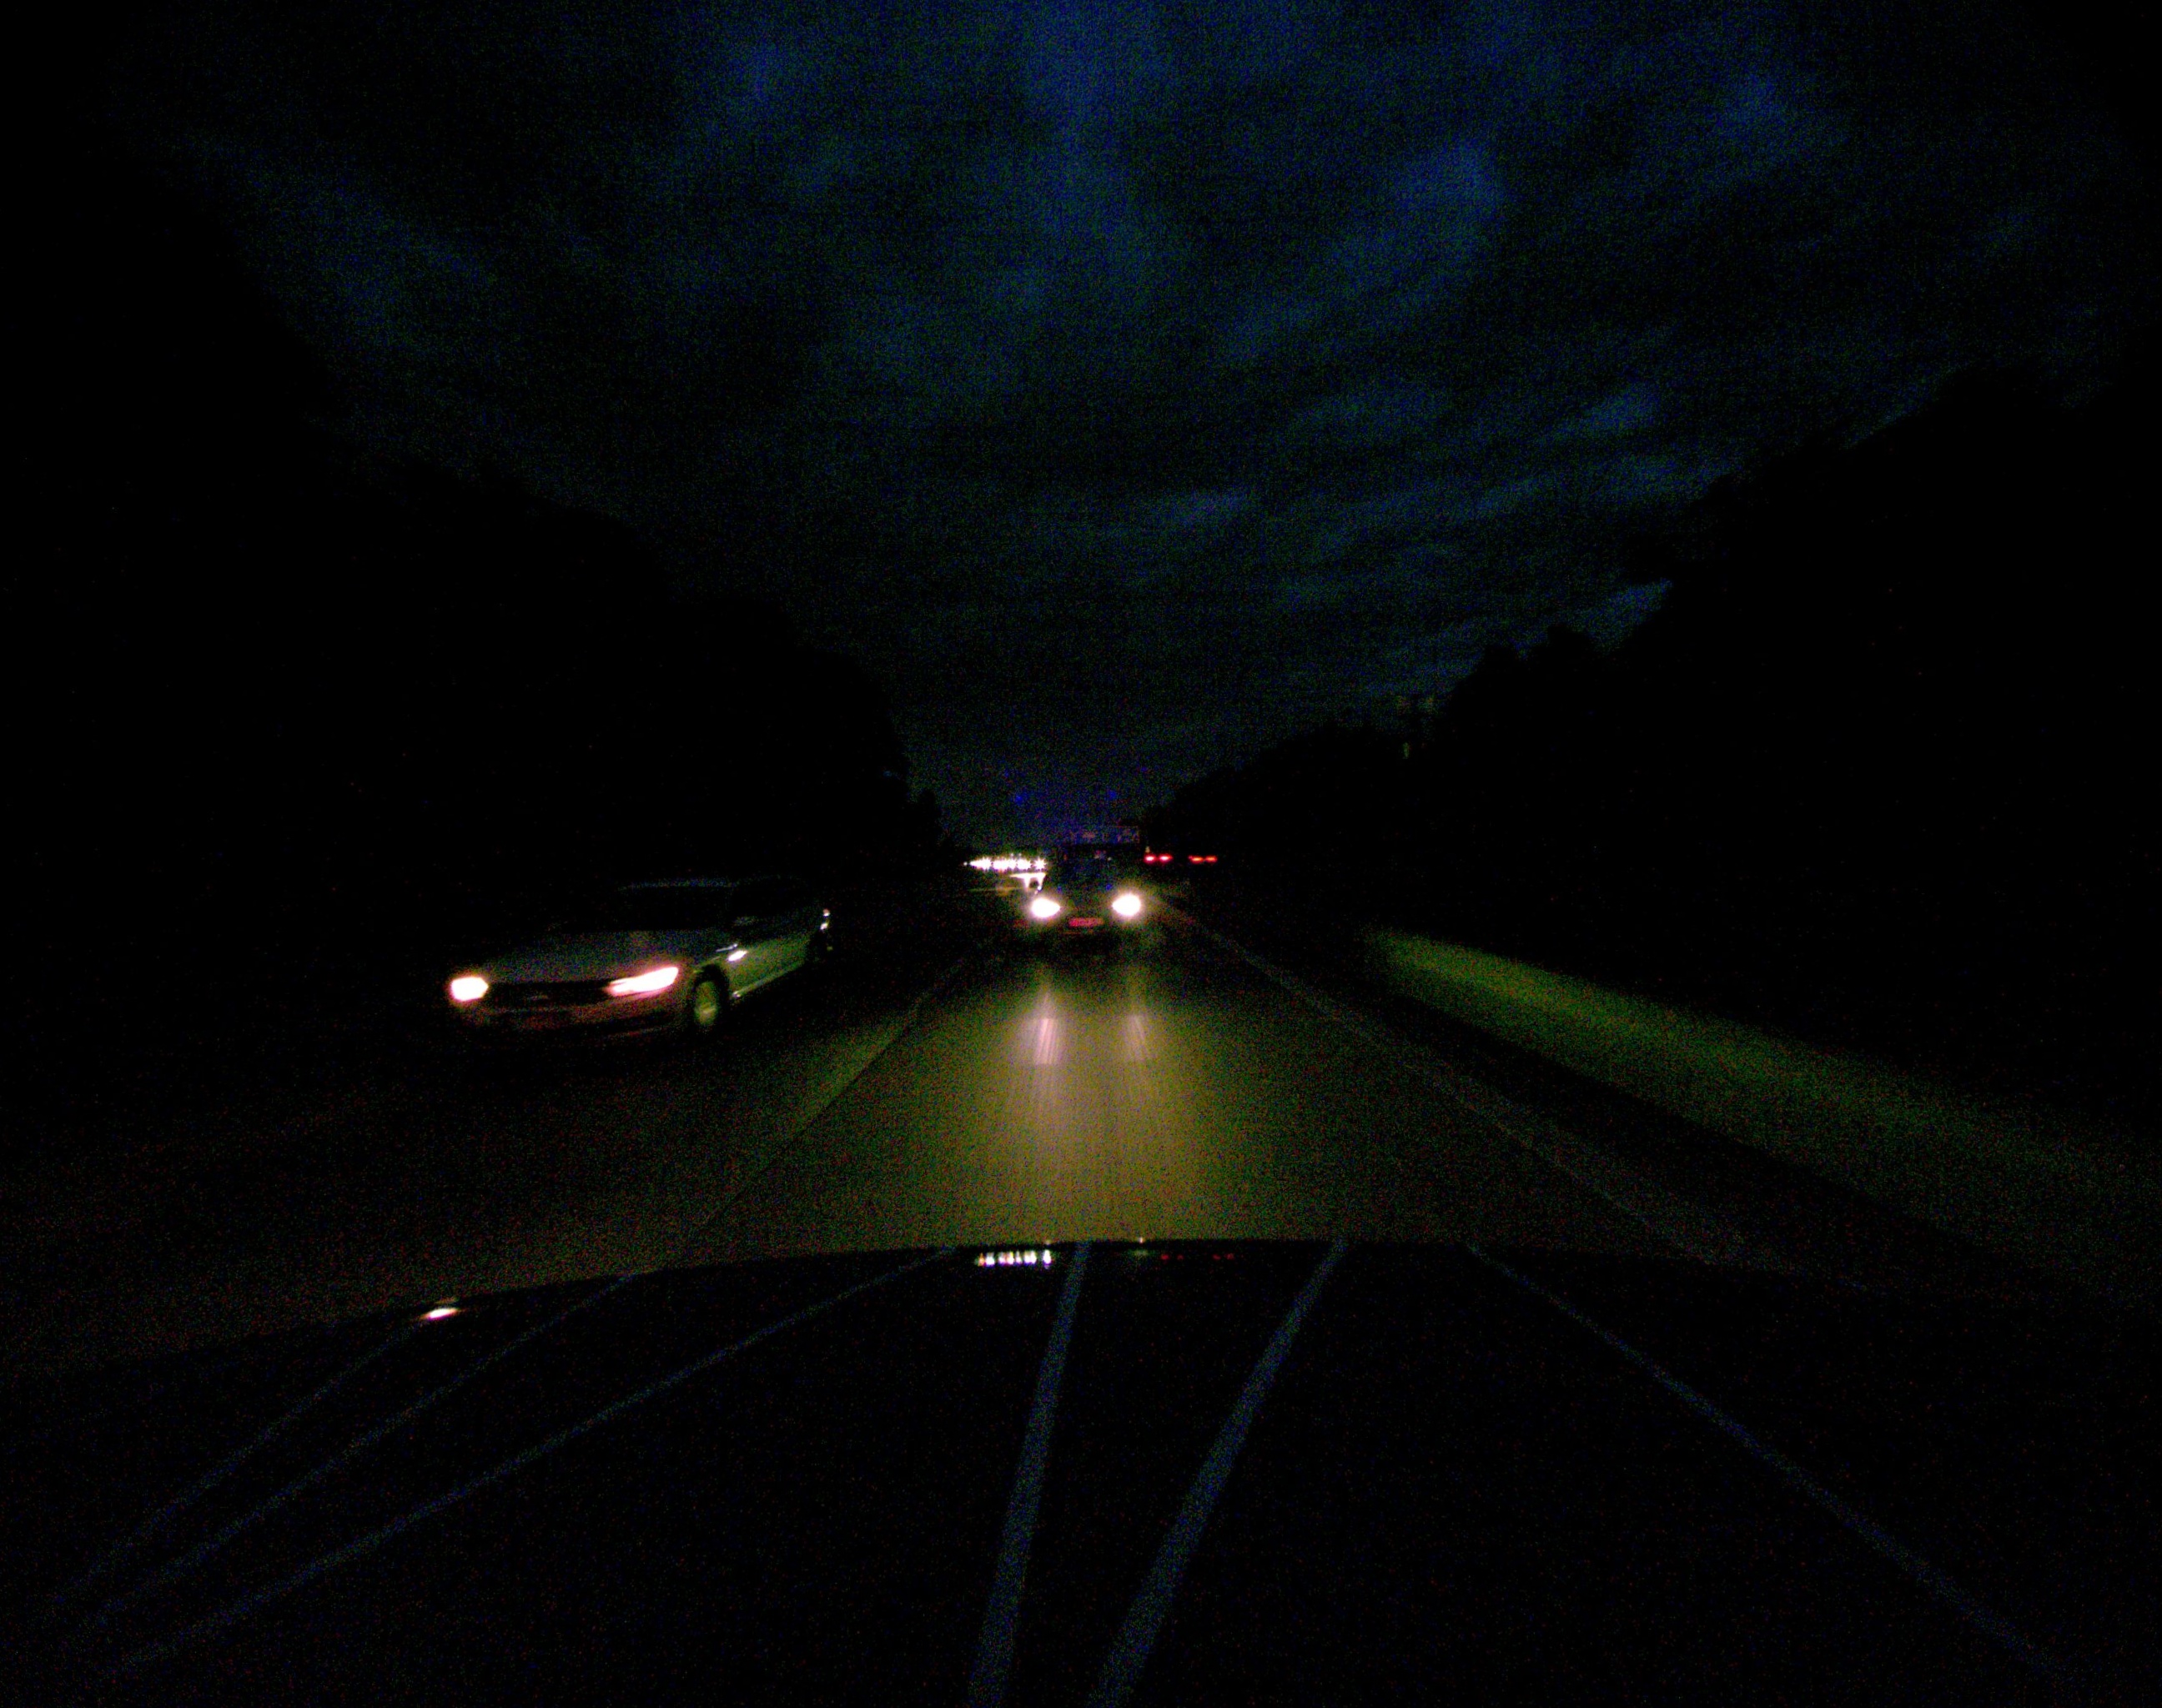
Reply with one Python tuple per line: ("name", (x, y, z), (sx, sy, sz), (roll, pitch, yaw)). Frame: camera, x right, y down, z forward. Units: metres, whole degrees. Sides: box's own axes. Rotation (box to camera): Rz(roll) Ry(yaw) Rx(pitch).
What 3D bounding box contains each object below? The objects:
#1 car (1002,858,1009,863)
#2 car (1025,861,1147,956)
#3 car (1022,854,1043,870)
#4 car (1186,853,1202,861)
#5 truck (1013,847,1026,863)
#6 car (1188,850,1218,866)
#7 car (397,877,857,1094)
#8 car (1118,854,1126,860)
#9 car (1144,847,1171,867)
("car", (-22.487, 1.796, 226.643), (1.820, 1.372, 4.042), (-2, 0, -3))
("car", (0.084, 0.878, 14.182), (1.879, 1.435, 4.451), (-2, 0, 0))
("car", (-4.971, 0.829, 78.348), (1.999, 1.539, 3.999), (-2, 0, -2))
("car", (19.619, 0.481, 132.438), (1.820, 1.372, 4.906), (-2, 0, -3))
("truck", (-16.233, 0.357, 202.073), (3.146, 3.987, 10.541), (-2, 0, -3))
("car", (11.090, 0.369, 69.291), (1.880, 1.435, 4.451), (-2, 0, -1))
("car", (-4.105, 1.049, 8.173), (1.813, 1.457, 5.132), (-2, -1, 0))
("car", (12.000, 0.909, 224.472), (1.856, 1.488, 4.593), (-2, 0, -3))
("car", (7.501, 0.321, 74.603), (1.999, 1.787, 4.830), (-2, 0, -1))
